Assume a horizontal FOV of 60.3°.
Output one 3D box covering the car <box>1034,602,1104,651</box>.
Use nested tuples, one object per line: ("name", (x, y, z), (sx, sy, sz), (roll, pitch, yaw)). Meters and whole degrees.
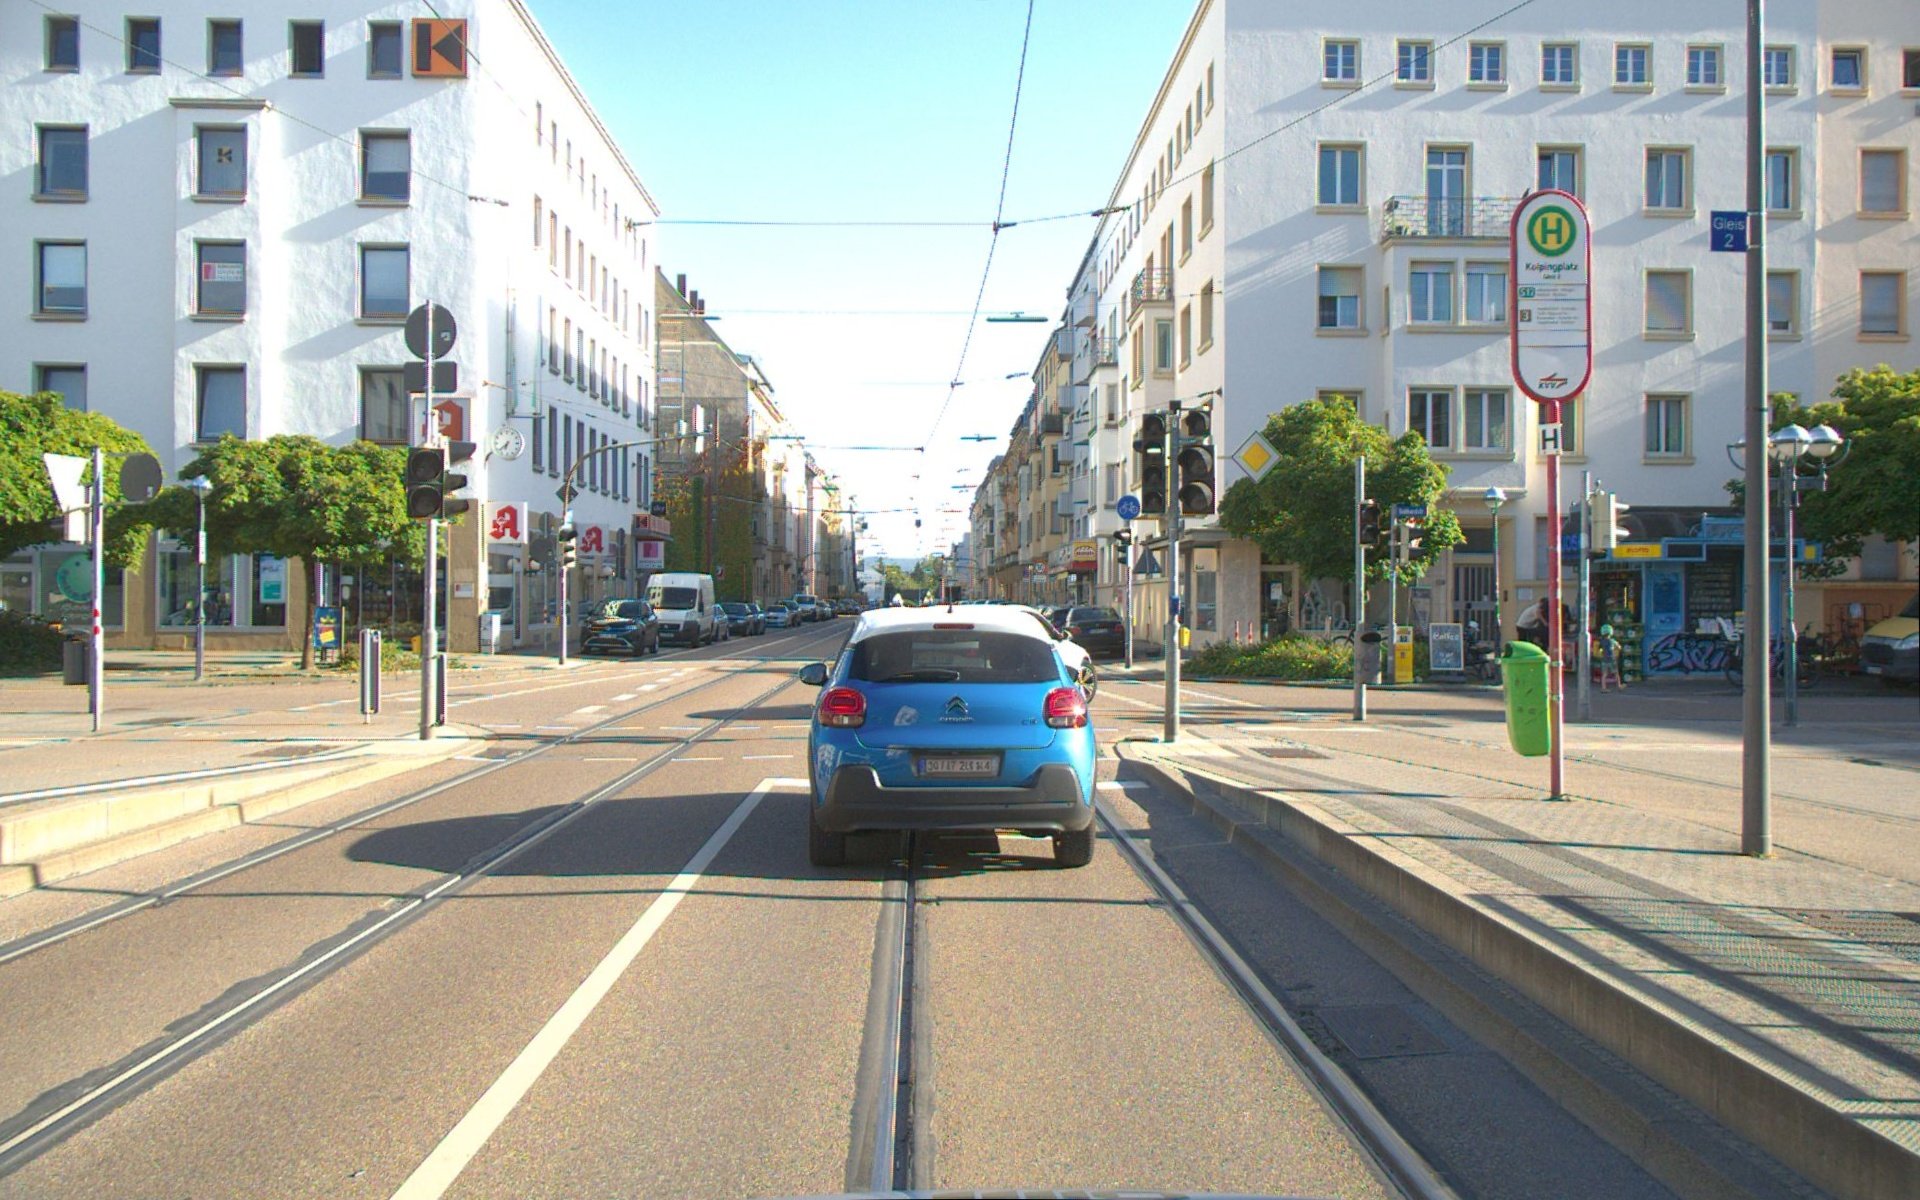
("car", (3.467, 0.824, 53.107), (1.953, 1.490, 3.999), (0, 0, 0))

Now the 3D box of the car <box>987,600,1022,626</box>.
("car", (2.592, 0.765, 97.553), (1.953, 1.490, 4.504), (0, 0, 0))

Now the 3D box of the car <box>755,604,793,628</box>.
("car", (-11.033, 0.955, 98.418), (1.953, 1.348, 3.921), (1, -1, -2))

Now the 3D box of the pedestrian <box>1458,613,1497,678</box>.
("pedestrian", (10.815, 0.943, 34.574), (0.725, 1.339, 0.628), (0, 0, 22))

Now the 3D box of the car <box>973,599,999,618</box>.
("car", (1.997, 0.658, 128.649), (1.953, 1.490, 3.999), (0, 0, 0))

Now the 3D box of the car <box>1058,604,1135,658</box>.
("car", (3.911, 0.861, 47.837), (1.870, 1.490, 3.999), (0, 0, 0))

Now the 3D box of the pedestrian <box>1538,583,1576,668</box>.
("pedestrian", (13.298, 0.555, 36.856), (0.639, 1.871, 0.659), (0, 0, 2))

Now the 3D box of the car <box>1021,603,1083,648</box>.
("car", (3.204, 0.863, 58.332), (1.953, 1.527, 3.999), (0, 0, 0))

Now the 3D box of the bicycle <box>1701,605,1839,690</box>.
("bicycle", (15.894, 0.925, 32.475), (2.336, 1.558, 0.726), (2, 0, -2))

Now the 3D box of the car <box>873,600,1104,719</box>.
("car", (0.545, 0.769, 23.428), (1.943, 1.490, 4.817), (0, 0, 18))

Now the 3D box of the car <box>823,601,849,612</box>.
("car", (-13.475, 0.703, 179.949), (1.951, 1.176, 4.518), (0, 0, 8))

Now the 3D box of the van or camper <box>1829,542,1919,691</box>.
("van or camper", (20.984, 0.284, 32.119), (6.976, 2.795, 2.371), (0, 1, 0))

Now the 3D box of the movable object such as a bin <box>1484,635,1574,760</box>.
("movable object such as a bin", (3.786, 0.641, 11.024), (0.439, 0.800, 0.489), (0, 0, 2))

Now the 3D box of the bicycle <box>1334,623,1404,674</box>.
("bicycle", (9.420, 1.105, 38.118), (1.534, 1.140, 0.300), (1, -1, 10))

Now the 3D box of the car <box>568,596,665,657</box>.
("car", (-9.817, 0.751, 47.591), (1.954, 1.596, 4.401), (3, -1, -2))

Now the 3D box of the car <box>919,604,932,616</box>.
("car", (-5.254, 1.518, 249.124), (1.953, 1.803, 3.999), (0, 0, -1))

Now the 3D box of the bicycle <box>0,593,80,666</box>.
("bicycle", (-21.343, 0.661, 38.099), (0.605, 1.635, 2.621), (0, 0, 3))

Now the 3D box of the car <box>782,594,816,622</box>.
("car", (-11.834, 0.598, 122.099), (1.965, 2.049, 4.689), (1, -1, 1))

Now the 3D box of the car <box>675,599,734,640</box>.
("car", (-9.928, 0.768, 64.543), (1.850, 1.522, 3.560), (1, -1, -2))

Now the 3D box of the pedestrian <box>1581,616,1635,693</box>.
("pedestrian", (12.641, 1.054, 32.268), (0.715, 1.434, 0.755), (0, 3, -1))

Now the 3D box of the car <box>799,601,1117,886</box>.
("car", (-0.043, 0.779, 10.842), (1.693, 1.508, 3.826), (1, 0, -1))

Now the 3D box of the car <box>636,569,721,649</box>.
("car", (-9.785, 0.309, 57.956), (2.043, 2.586, 6.203), (1, 0, -2))

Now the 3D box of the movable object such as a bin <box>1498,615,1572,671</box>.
("movable object such as a bin", (12.433, 0.924, 35.807), (1.174, 1.173, 1.217), (0, 0, 0))

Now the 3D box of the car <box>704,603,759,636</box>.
("car", (-10.118, 0.860, 73.389), (1.953, 1.422, 4.155), (1, -1, -2))

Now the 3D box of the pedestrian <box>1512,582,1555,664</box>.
("pedestrian", (13.176, 0.526, 38.013), (0.768, 1.871, 0.678), (0, 0, 2))

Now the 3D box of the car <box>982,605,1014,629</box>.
("car", (2.370, 1.075, 104.097), (1.953, 1.490, 3.999), (0, 0, 0))
